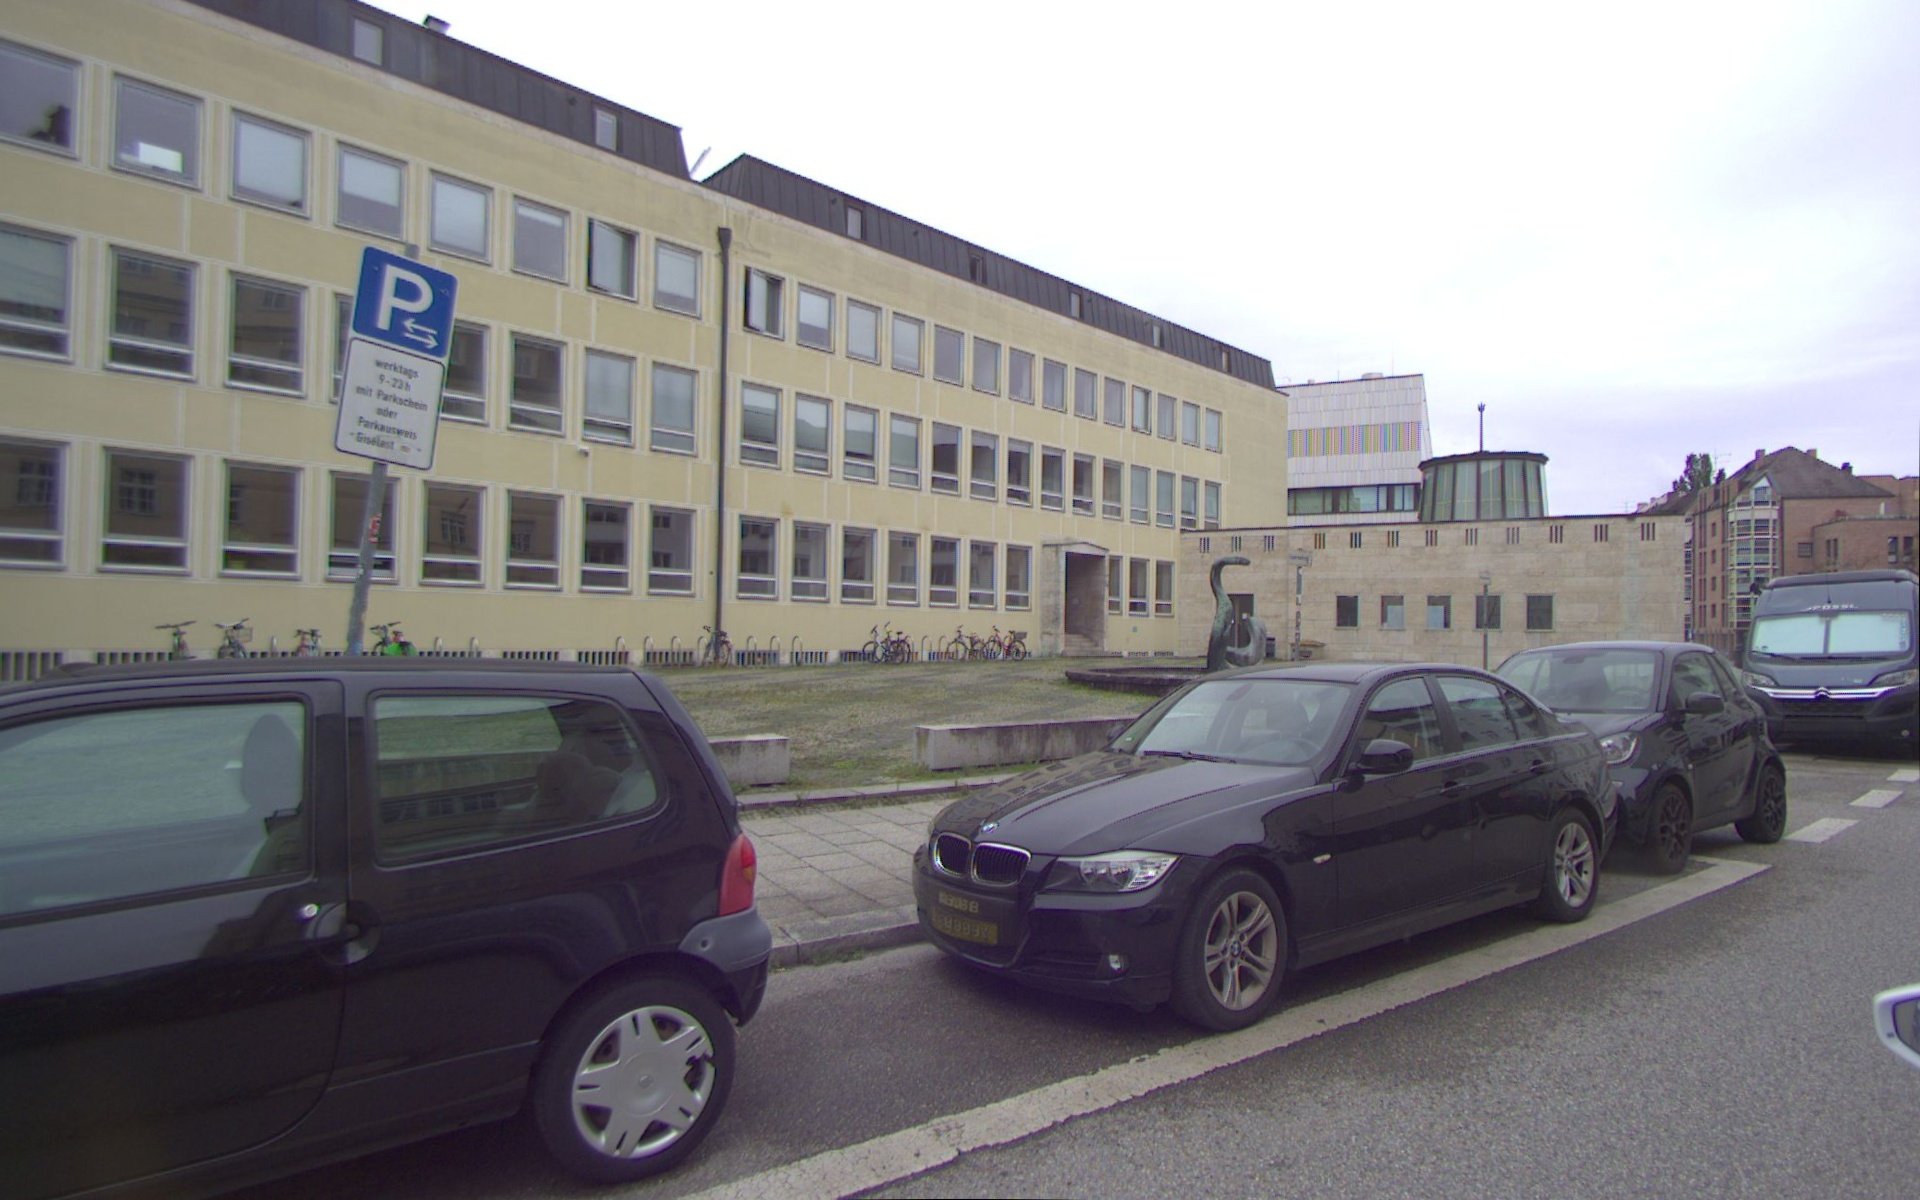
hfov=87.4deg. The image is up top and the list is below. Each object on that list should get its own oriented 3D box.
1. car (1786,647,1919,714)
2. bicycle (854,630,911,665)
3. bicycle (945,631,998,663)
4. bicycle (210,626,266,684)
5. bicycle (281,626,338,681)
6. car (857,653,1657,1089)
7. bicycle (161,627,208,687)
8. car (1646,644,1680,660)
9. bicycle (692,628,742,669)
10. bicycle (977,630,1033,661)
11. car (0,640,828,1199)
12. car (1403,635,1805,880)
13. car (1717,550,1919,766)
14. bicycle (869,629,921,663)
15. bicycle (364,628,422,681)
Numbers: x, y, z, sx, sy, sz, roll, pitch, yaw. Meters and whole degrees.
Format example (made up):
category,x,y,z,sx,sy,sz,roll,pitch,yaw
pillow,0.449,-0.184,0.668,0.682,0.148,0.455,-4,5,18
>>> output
category,x,y,z,sx,sy,sz,roll,pitch,yaw
car,22.445,1.907,23.816,4.003,1.500,1.687,-2,-5,10
bicycle,-2.387,1.437,30.716,1.926,1.028,0.622,0,-2,44
bicycle,0.368,1.556,33.482,0.621,1.028,1.928,2,-2,-43
bicycle,-13.801,1.028,19.171,0.621,1.028,1.928,2,-2,-43
bicycle,-13.138,1.057,20.261,0.621,1.028,1.928,2,-2,-43
car,1.805,1.002,5.367,4.412,1.424,1.787,2,-4,-36
bicycle,-14.298,1.026,18.502,0.620,1.028,1.931,2,-1,-39
car,73.902,5.445,105.627,1.777,1.492,4.118,1,-1,18
bicycle,-6.570,1.284,27.044,0.619,1.028,1.933,2,-1,-36
bicycle,1.526,1.544,34.291,1.923,1.028,0.623,0,-1,40
car,-2.203,0.861,2.797,3.277,1.472,1.647,2,-3,-33
car,5.047,1.061,7.824,2.949,1.521,1.659,2,-4,-36
car,13.391,0.825,15.216,5.977,2.676,2.143,2,-3,-44
bicycle,-2.056,1.432,31.582,0.620,1.028,1.931,2,-1,-39
bicycle,-11.939,1.124,21.113,0.621,1.028,1.928,2,-2,-43
